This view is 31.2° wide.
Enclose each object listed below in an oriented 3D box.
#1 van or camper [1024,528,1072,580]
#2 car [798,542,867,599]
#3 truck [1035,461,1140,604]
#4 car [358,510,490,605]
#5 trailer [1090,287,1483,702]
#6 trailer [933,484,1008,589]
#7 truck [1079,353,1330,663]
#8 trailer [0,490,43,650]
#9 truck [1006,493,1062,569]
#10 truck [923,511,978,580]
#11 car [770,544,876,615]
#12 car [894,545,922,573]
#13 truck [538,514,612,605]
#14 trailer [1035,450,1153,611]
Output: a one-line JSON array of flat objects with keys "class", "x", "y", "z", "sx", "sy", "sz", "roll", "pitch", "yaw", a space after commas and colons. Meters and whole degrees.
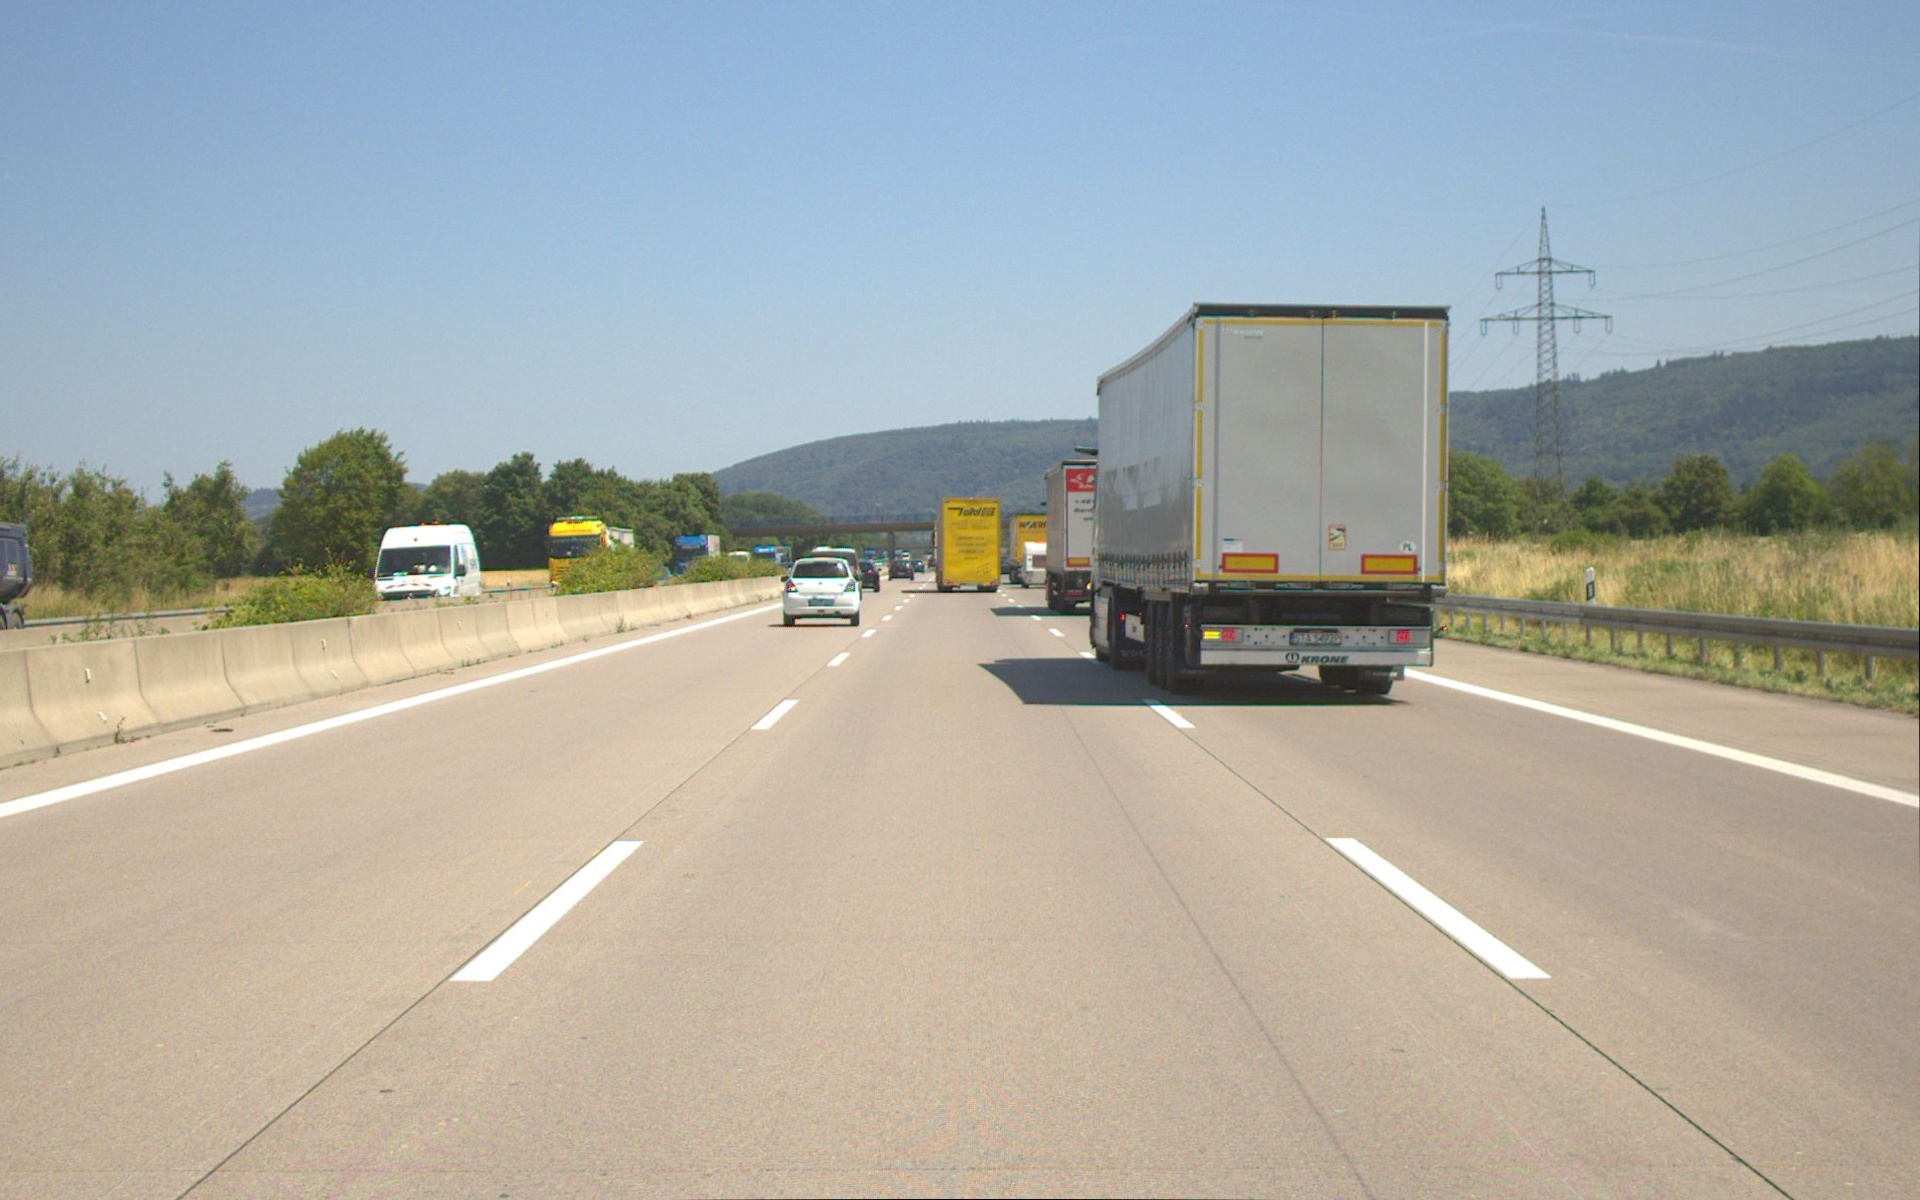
[{"class": "van or camper", "x": 4.376, "y": -2.288, "z": 171.677, "sx": 2.224, "sy": 2.522, "sz": 5.431, "roll": 0, "pitch": 1, "yaw": 0}, {"class": "car", "x": -4.574, "y": -1.082, "z": 123.534, "sx": 2.254, "sy": 2.007, "sz": 4.297, "roll": 0, "pitch": 1, "yaw": 1}, {"class": "truck", "x": 3.707, "y": -1.980, "z": 101.459, "sx": 2.906, "sy": 4.086, "sz": 6.272, "roll": 0, "pitch": 1, "yaw": 1}, {"class": "car", "x": -12.871, "y": -1.032, "z": 82.940, "sx": 2.210, "sy": 2.181, "sz": 6.326, "roll": 0, "pitch": 1, "yaw": 0}, {"class": "trailer", "x": 3.470, "y": -1.136, "z": 40.809, "sx": 3.018, "sy": 4.047, "sz": 14.208, "roll": 0, "pitch": 1, "yaw": -1}, {"class": "trailer", "x": 0.485, "y": -2.847, "z": 155.638, "sx": 3.216, "sy": 4.548, "sz": 13.457, "roll": 0, "pitch": 1, "yaw": 0}, {"class": "truck", "x": 3.304, "y": -1.253, "z": 47.900, "sx": 2.984, "sy": 4.048, "sz": 5.478, "roll": 0, "pitch": 1, "yaw": -1}, {"class": "trailer", "x": -21.131, "y": -0.608, "z": 69.265, "sx": 2.828, "sy": 3.293, "sz": 9.464, "roll": 0, "pitch": 1, "yaw": 0}, {"class": "truck", "x": 4.248, "y": -3.966, "z": 199.763, "sx": 2.999, "sy": 4.299, "sz": 9.684, "roll": 0, "pitch": 1, "yaw": 0}, {"class": "truck", "x": -0.583, "y": -3.425, "z": 215.803, "sx": 3.353, "sy": 4.257, "sz": 8.229, "roll": 0, "pitch": 1, "yaw": 0}, {"class": "car", "x": -3.043, "y": -0.475, "z": 77.148, "sx": 2.107, "sy": 1.530, "sz": 4.122, "roll": 0, "pitch": 1, "yaw": 1}, {"class": "car", "x": -3.536, "y": -2.784, "z": 233.679, "sx": 1.784, "sy": 1.875, "sz": 4.000, "roll": 0, "pitch": 1, "yaw": 0}, {"class": "truck", "x": -17.593, "y": -1.844, "z": 157.269, "sx": 2.743, "sy": 4.066, "sz": 5.541, "roll": 0, "pitch": 1, "yaw": 0}, {"class": "trailer", "x": 3.591, "y": -1.885, "z": 94.965, "sx": 2.874, "sy": 4.086, "sz": 13.513, "roll": 0, "pitch": 1, "yaw": 1}]
